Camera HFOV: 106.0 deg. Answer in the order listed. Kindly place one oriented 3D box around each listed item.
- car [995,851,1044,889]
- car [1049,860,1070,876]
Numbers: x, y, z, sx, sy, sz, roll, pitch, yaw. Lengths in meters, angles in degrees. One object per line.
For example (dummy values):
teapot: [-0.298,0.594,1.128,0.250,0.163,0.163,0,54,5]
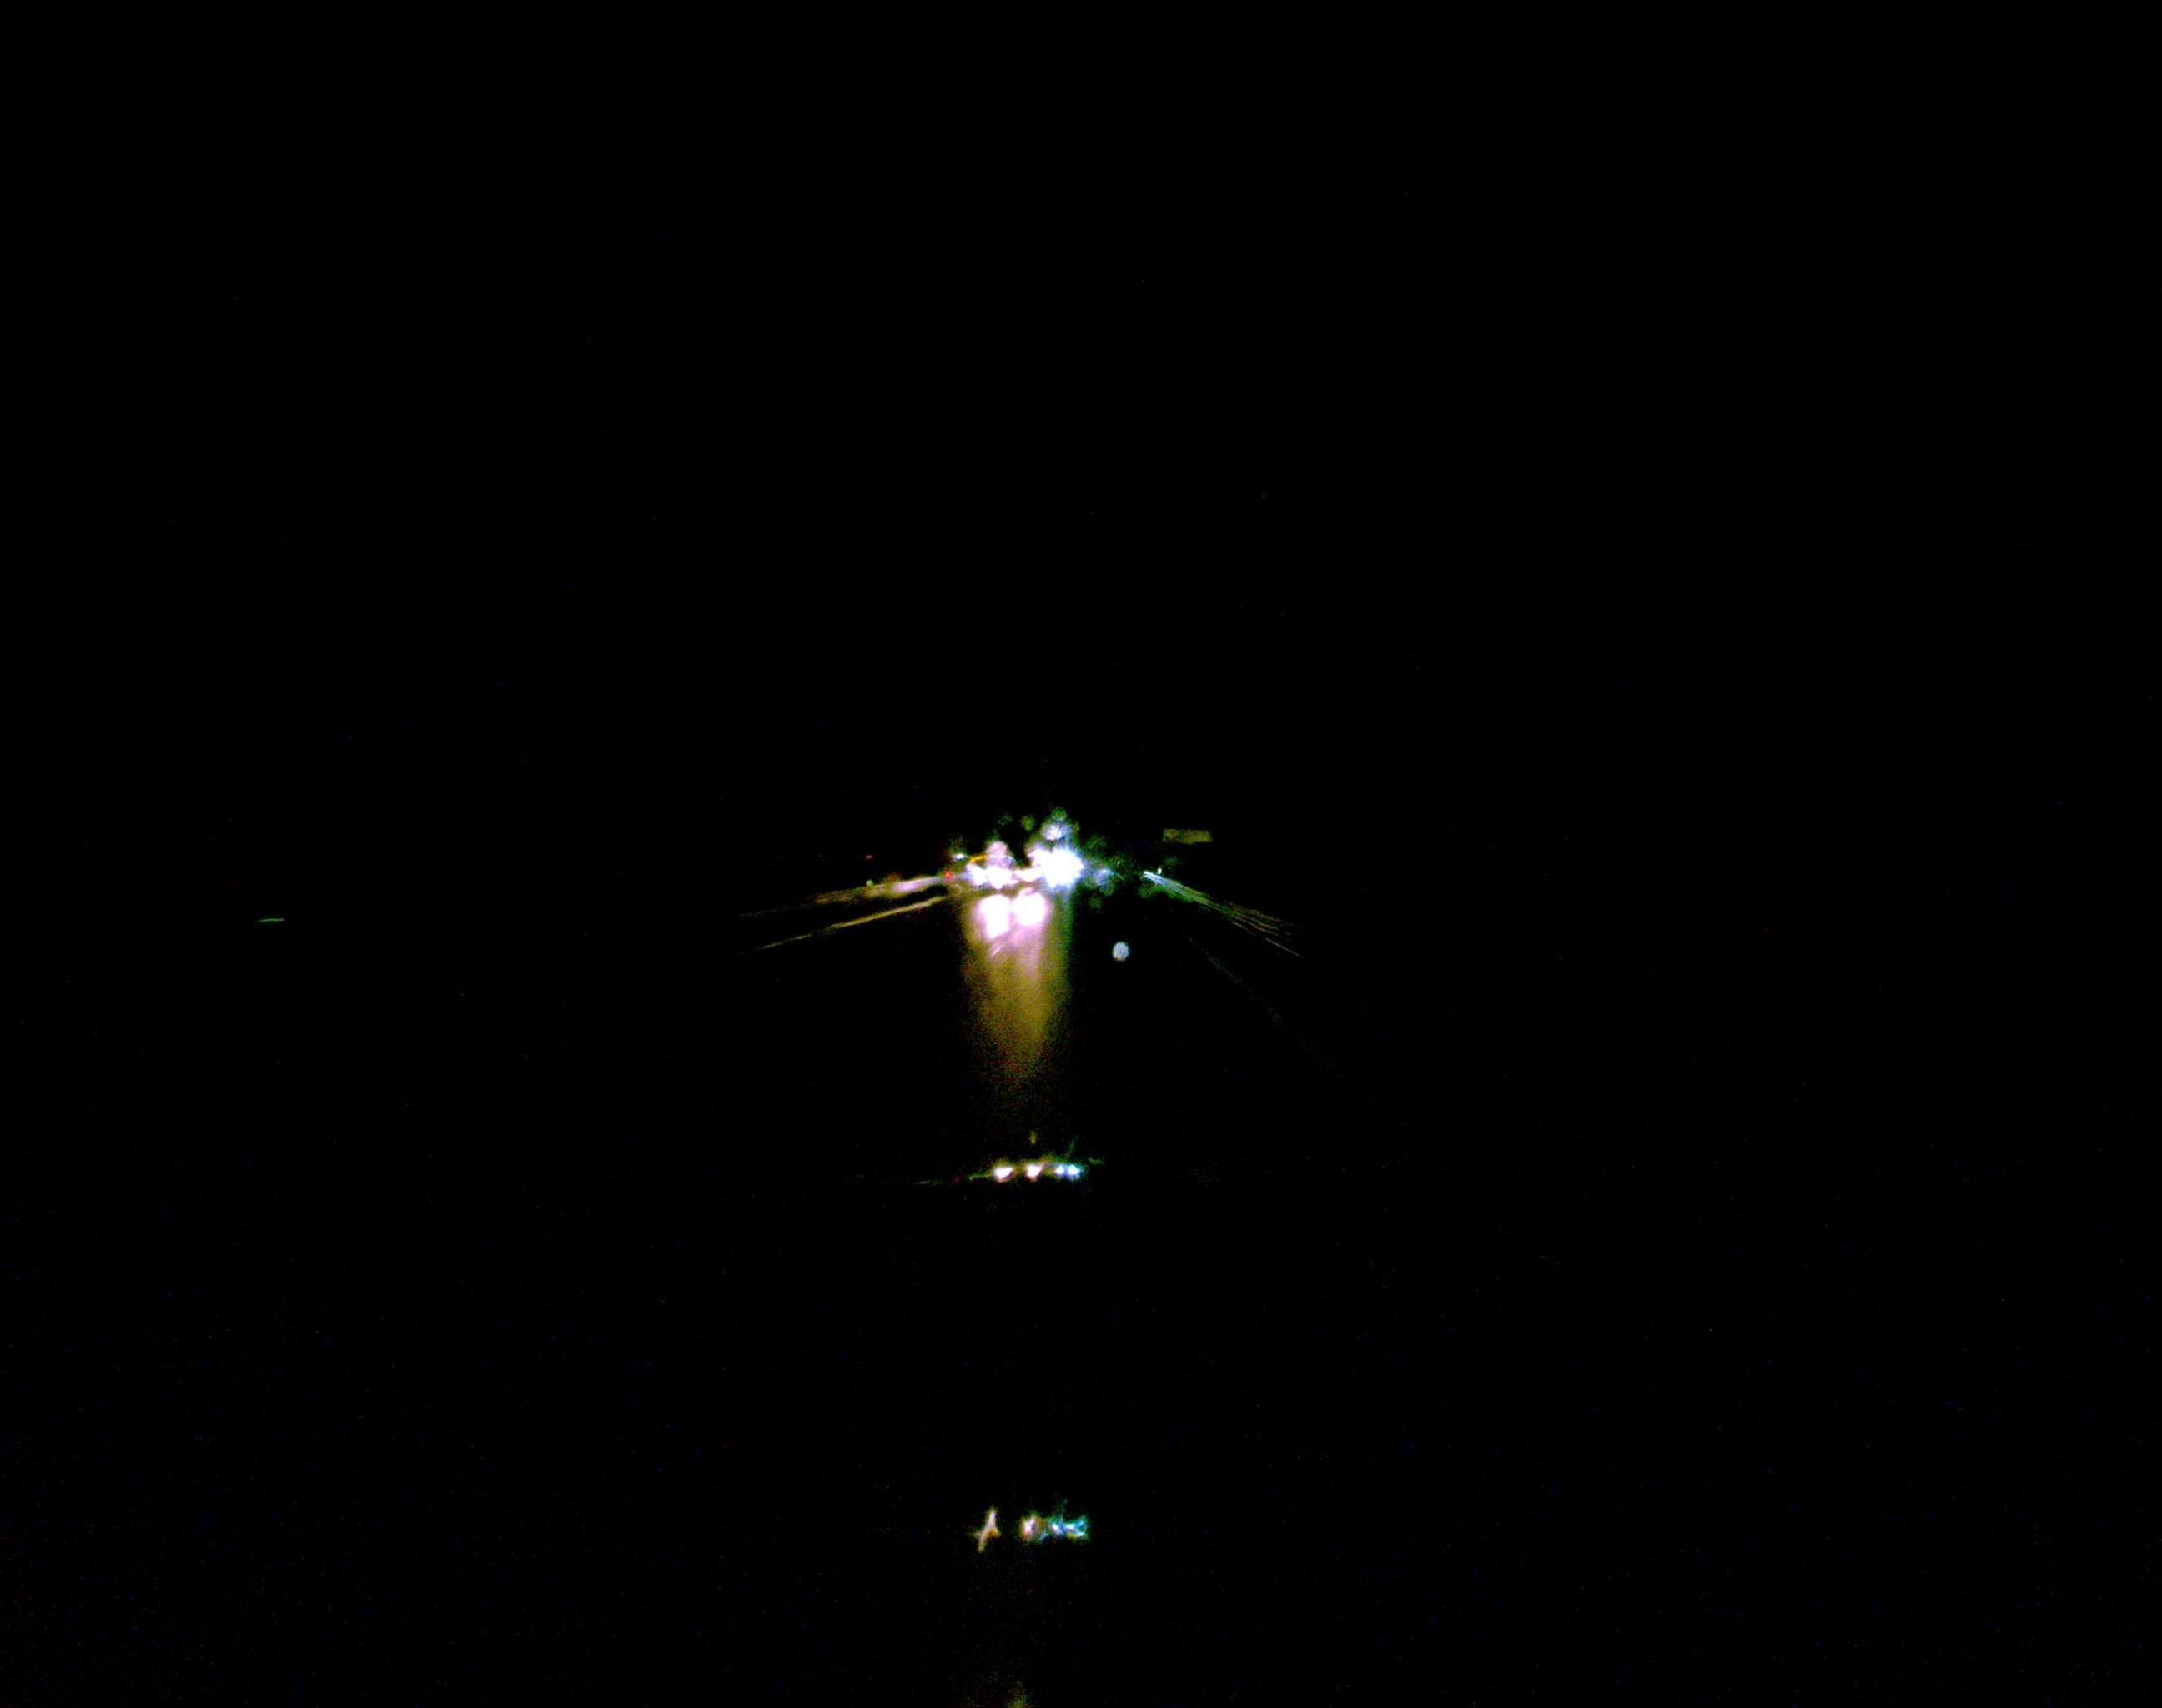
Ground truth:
car: [-2.724,0.680,36.684,1.862,1.612,3.847,0,0,1]
car: [-2.120,1.399,81.491,1.862,1.448,4.393,0,0,1]
